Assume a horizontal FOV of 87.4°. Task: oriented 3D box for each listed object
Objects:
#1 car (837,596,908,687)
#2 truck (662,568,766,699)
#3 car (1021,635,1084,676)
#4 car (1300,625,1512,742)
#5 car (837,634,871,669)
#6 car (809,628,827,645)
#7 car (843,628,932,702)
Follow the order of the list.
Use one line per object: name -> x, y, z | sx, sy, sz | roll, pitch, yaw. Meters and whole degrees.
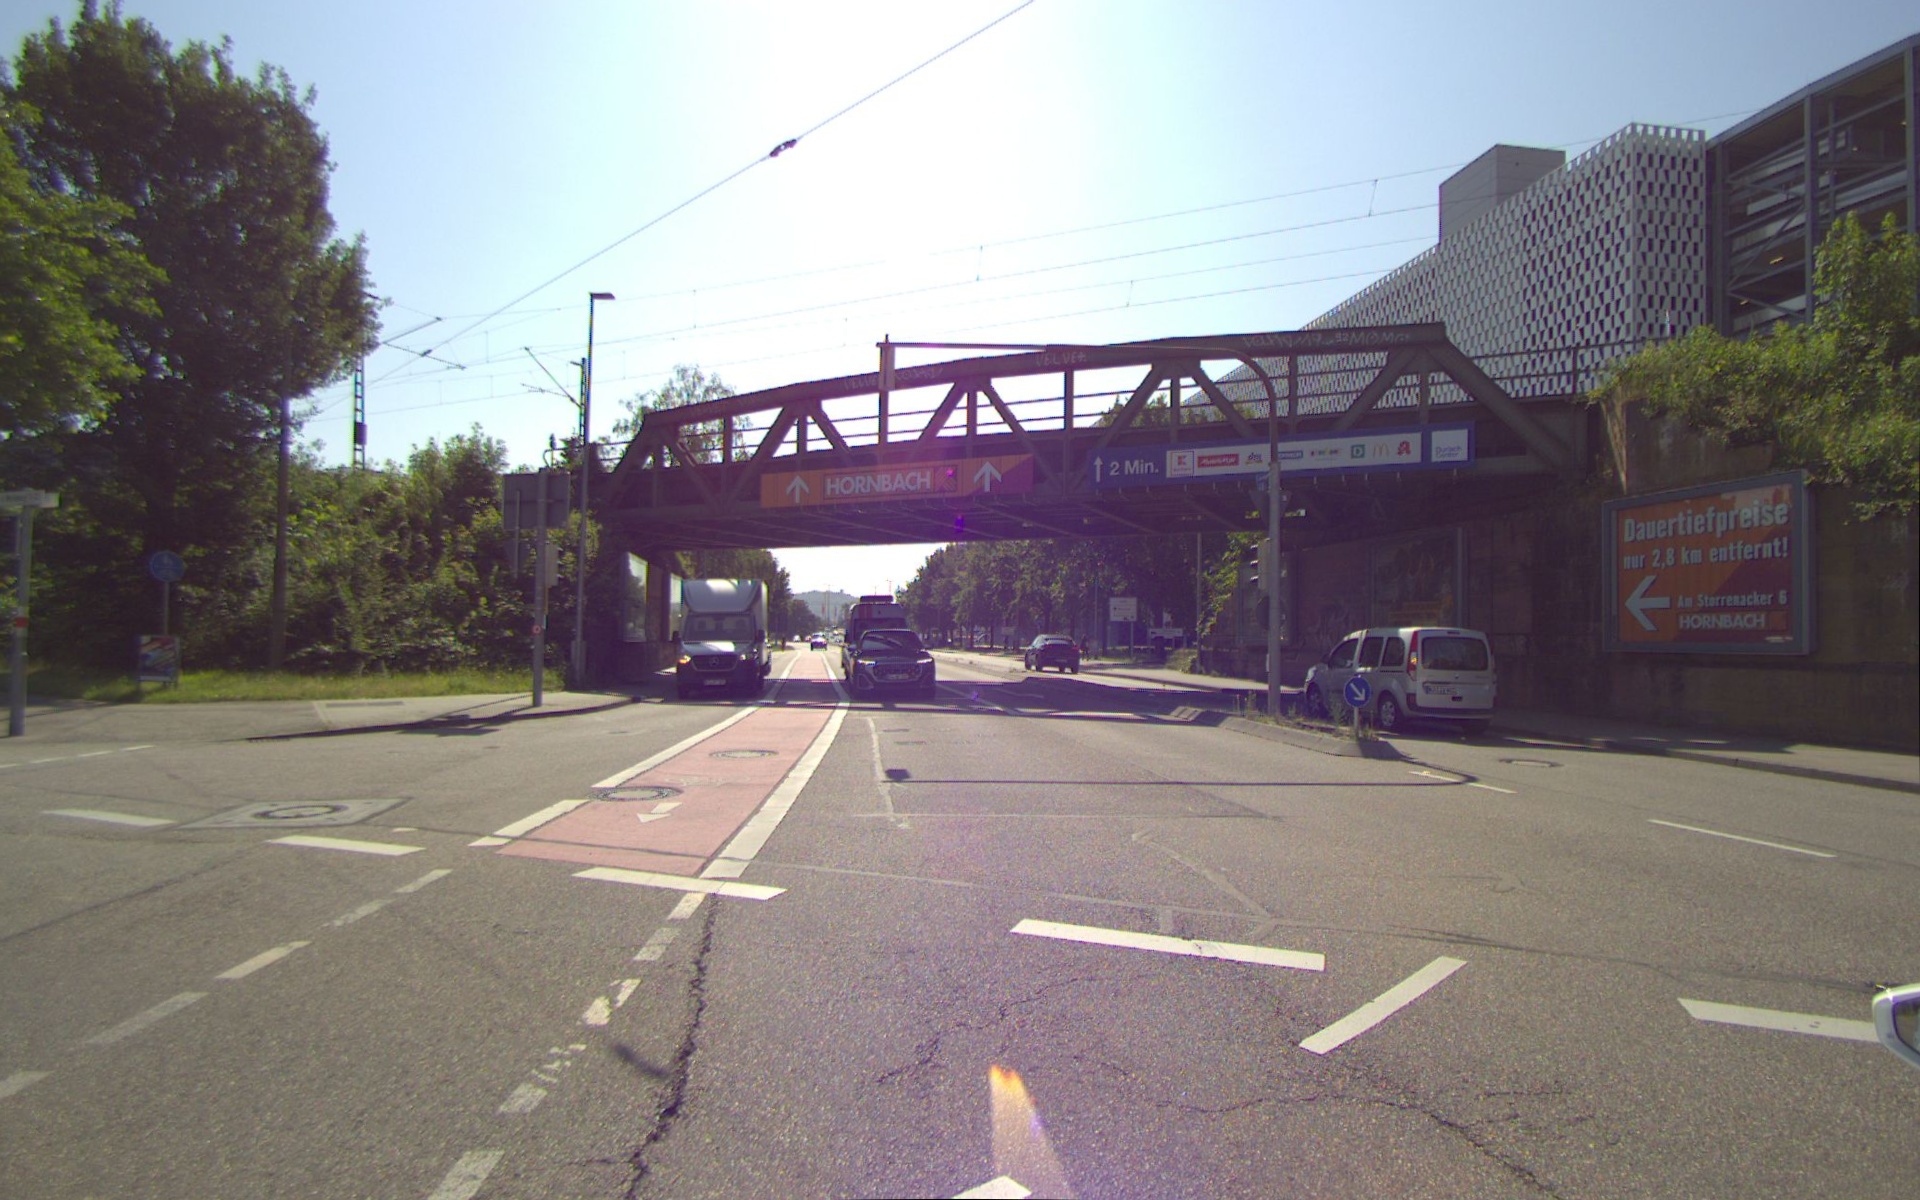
car -> -3.140, 1.407, 34.737 | 2.134, 2.850, 6.193 | 1, -2, -7
truck -> -6.574, 0.967, 27.594 | 2.178, 3.146, 6.856 | 1, -3, -9
car -> 4.057, 2.444, 44.842 | 1.901, 1.684, 4.224 | 1, -2, -8
car -> 7.934, 1.407, 18.316 | 1.758, 1.862, 3.996 | 1, -1, -6
car -> -5.177, 2.511, 49.310 | 1.566, 1.473, 3.996 | 1, 0, -6
car -> -16.607, 4.286, 117.487 | 1.855, 1.773, 3.996 | 1, 0, -6
car -> -1.887, 1.582, 24.992 | 1.870, 1.668, 3.995 | 1, -3, -9
